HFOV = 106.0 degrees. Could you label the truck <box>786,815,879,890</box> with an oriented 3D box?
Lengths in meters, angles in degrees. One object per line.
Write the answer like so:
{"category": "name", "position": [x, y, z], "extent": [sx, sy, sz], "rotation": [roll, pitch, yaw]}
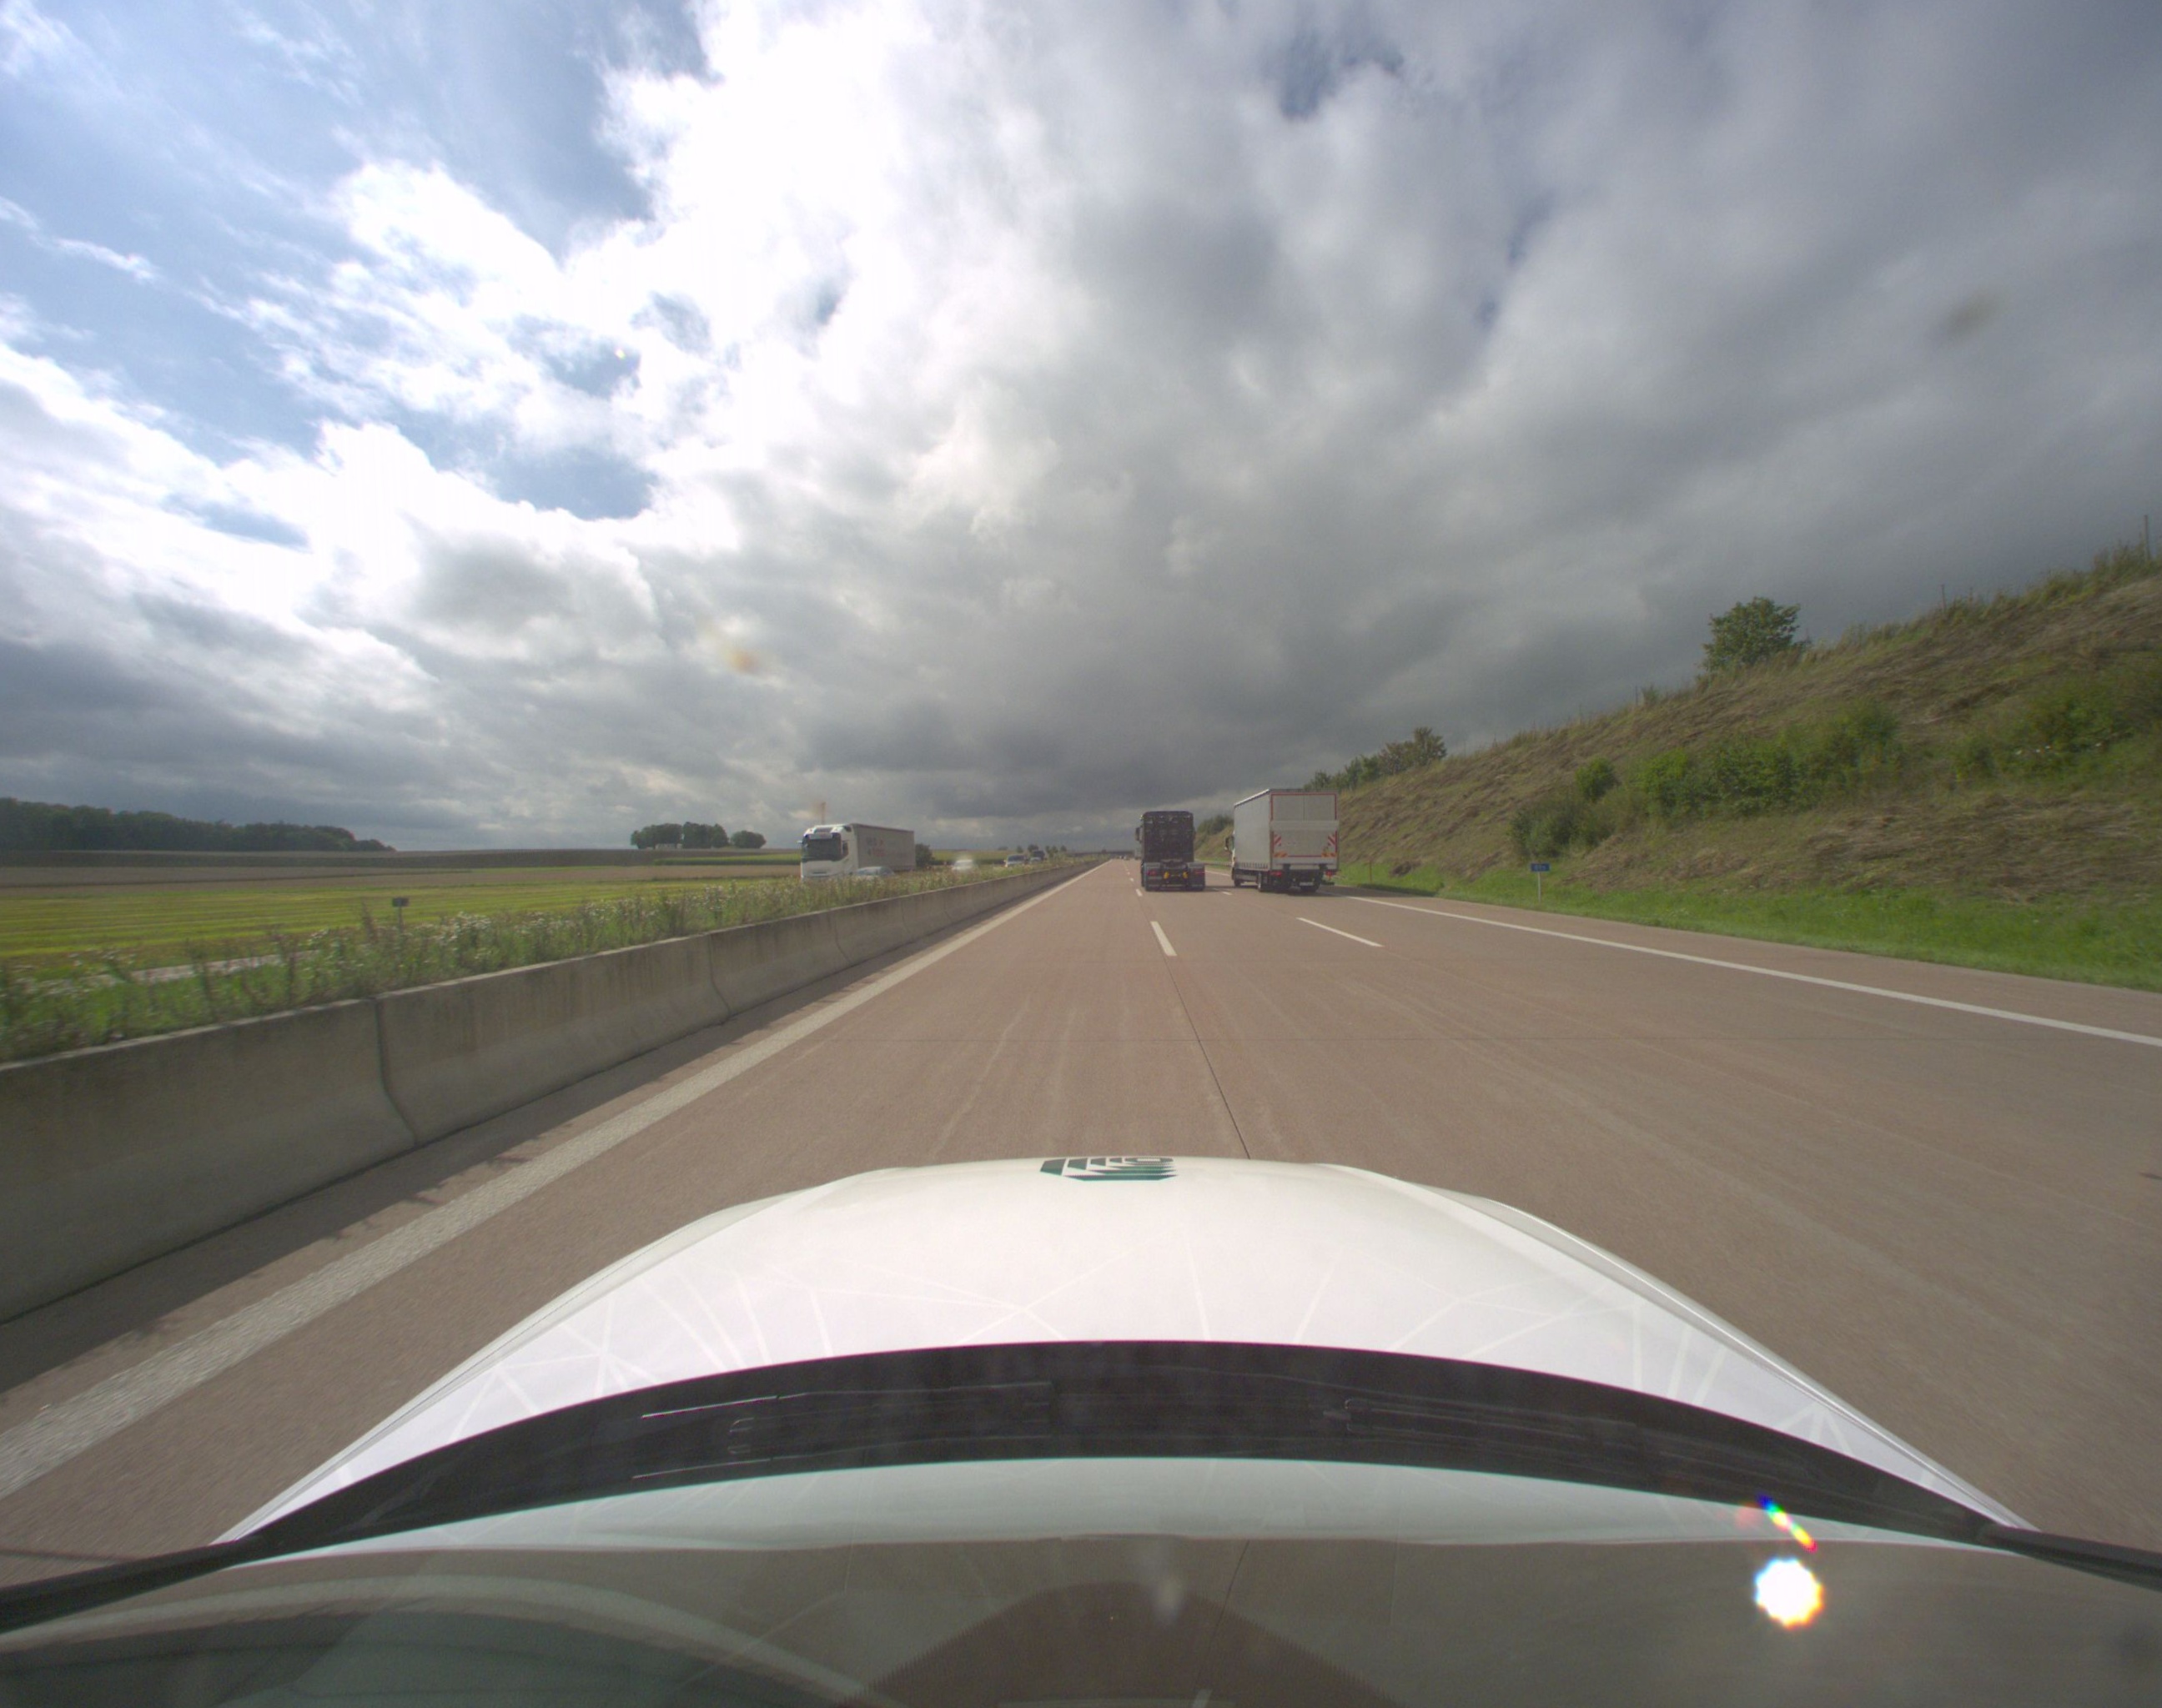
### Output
{"category": "truck", "position": [-14.366, -0.120, 47.565], "extent": [3.192, 4.098, 6.132], "rotation": [0, 0, 3]}

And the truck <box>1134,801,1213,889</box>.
{"category": "truck", "position": [4.027, -0.341, 37.341], "extent": [2.837, 3.550, 8.321], "rotation": [0, 0, 1]}

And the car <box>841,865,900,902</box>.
{"category": "car", "position": [-10.902, 1.502, 42.508], "extent": [1.766, 1.748, 4.473], "rotation": [0, 0, 2]}

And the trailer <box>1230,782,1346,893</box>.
{"category": "trailer", "position": [8.309, -0.582, 33.895], "extent": [2.738, 4.012, 8.671], "rotation": [0, 0, 1]}

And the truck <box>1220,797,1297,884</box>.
{"category": "truck", "position": [8.386, -0.582, 38.938], "extent": [2.739, 3.892, 4.546], "rotation": [0, -1, 1]}

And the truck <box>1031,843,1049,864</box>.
{"category": "truck", "position": [-8.495, -0.123, 170.366], "extent": [2.879, 4.098, 6.341], "rotation": [-3, 0, 3]}

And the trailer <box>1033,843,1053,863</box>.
{"category": "trailer", "position": [-8.128, -0.143, 176.392], "extent": [2.879, 4.098, 11.047], "rotation": [-3, 0, 3]}

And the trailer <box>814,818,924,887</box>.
{"category": "trailer", "position": [-13.893, -0.145, 55.147], "extent": [3.194, 4.098, 13.271], "rotation": [0, 0, 4]}

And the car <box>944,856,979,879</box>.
{"category": "car", "position": [-9.800, 1.088, 67.115], "extent": [1.986, 1.657, 4.786], "rotation": [-3, 0, 1]}

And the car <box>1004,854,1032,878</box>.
{"category": "car", "position": [-5.716, 1.064, 74.505], "extent": [1.986, 2.013, 5.248], "rotation": [-3, 0, 1]}
